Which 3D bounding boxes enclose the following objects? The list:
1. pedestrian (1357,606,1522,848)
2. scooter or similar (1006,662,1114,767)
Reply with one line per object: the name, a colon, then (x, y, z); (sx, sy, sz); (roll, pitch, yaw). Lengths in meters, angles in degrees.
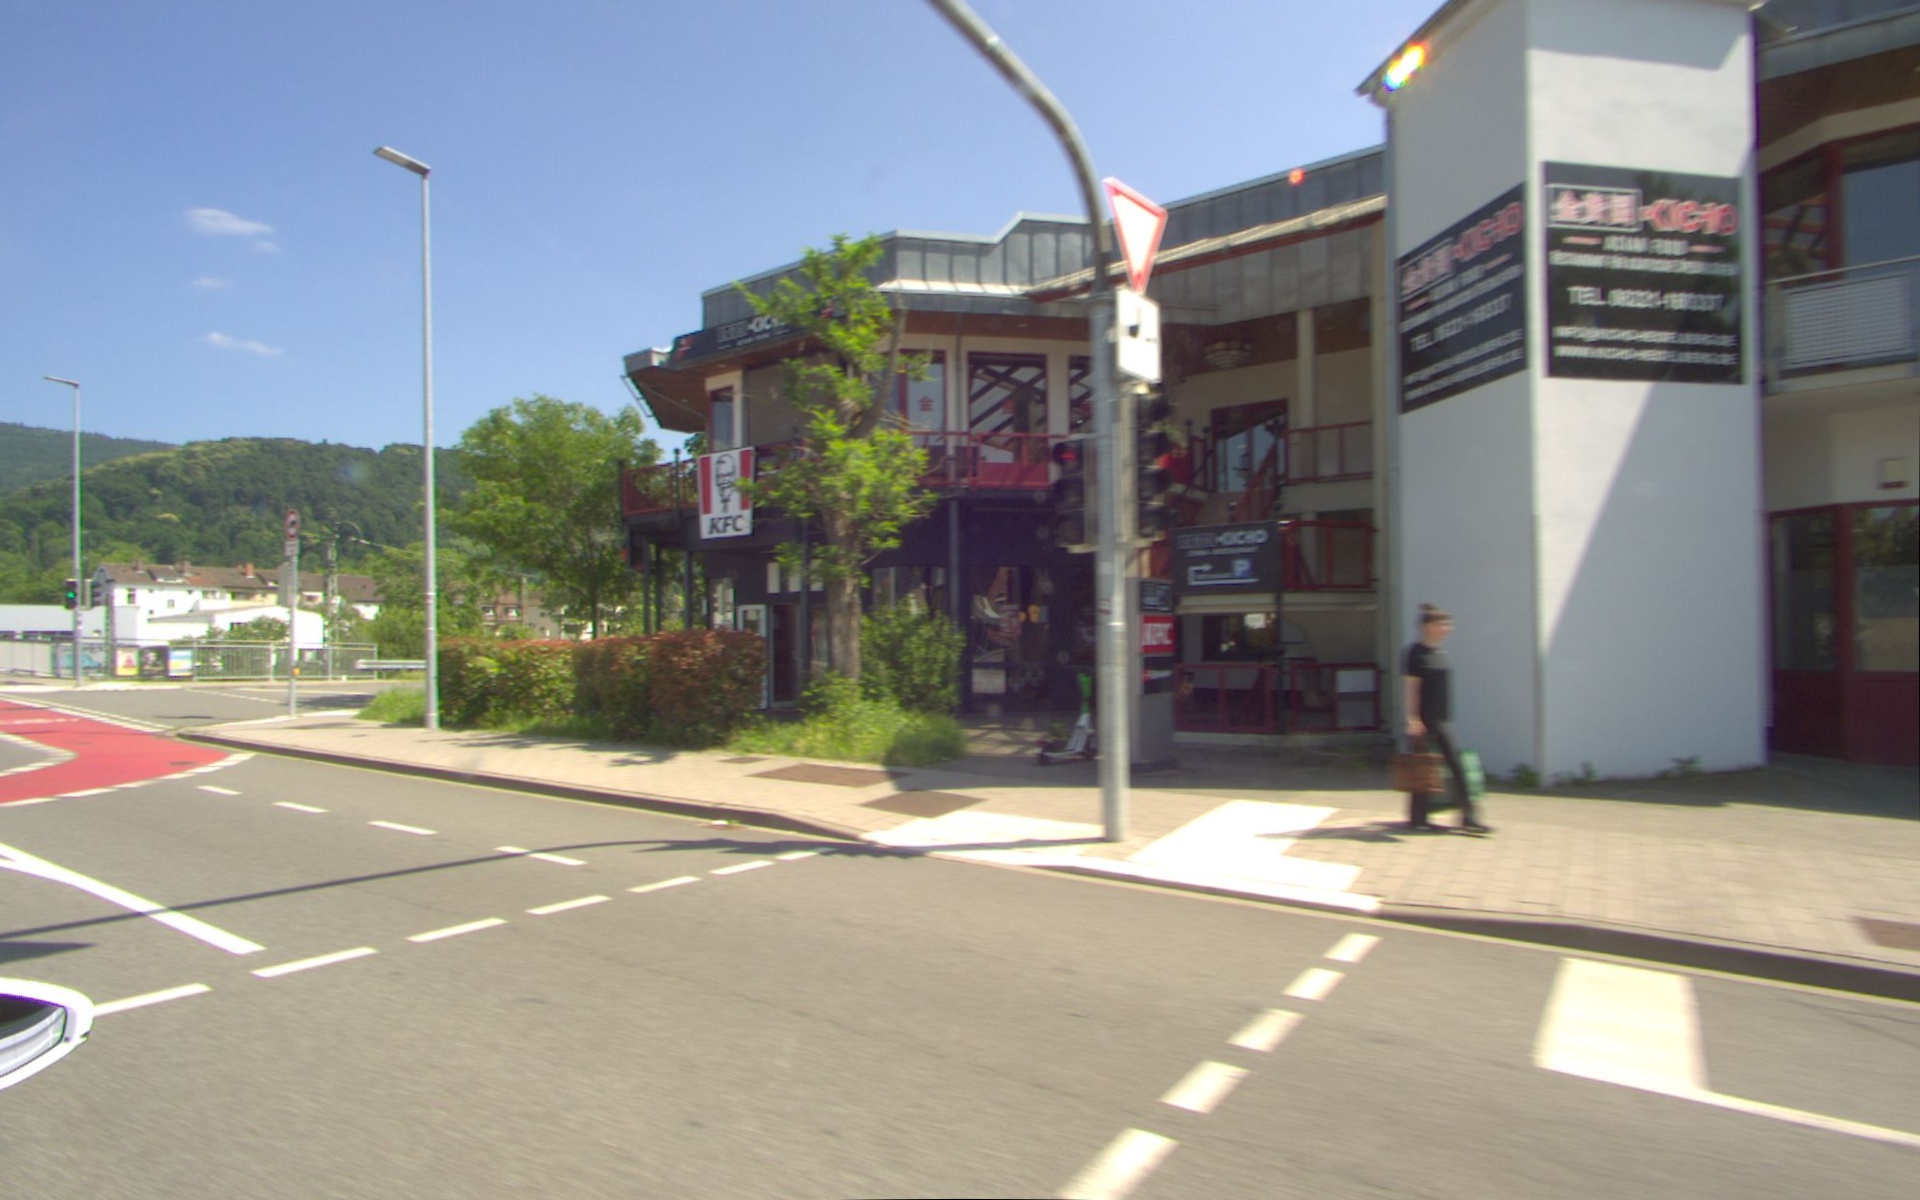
pedestrian: (3.523, 0.887, 7.409); (0.721, 1.666, 0.841); (0, -1, -16)
scooter or similar: (1.215, 1.332, 11.990); (0.495, 1.138, 1.491); (-1, -2, 42)
